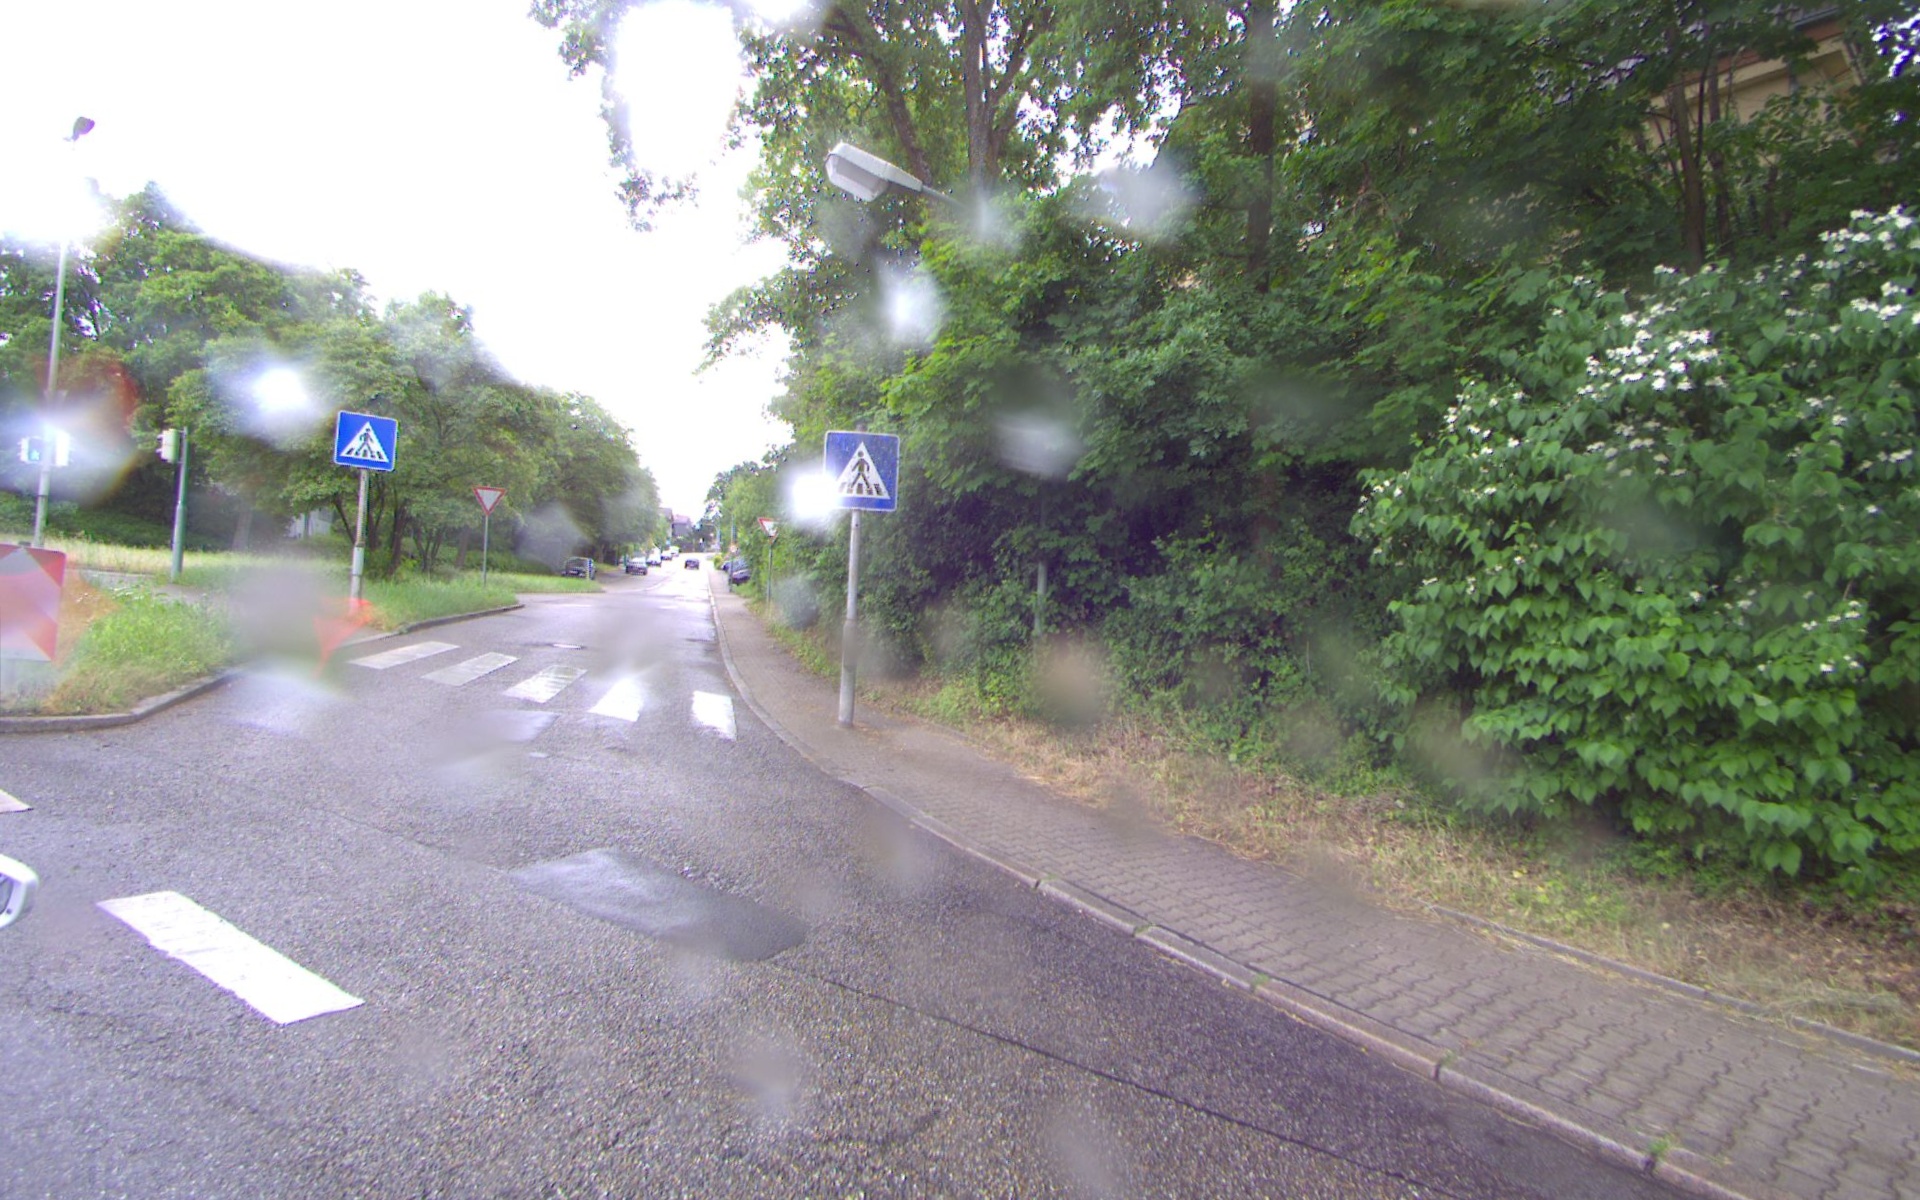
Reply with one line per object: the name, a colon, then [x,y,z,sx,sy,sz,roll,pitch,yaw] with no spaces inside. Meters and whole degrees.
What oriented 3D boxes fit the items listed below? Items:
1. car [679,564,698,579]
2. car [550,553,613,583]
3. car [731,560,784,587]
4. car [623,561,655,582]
car: [-33.955,-3.511,125.886,1.918,1.474,4.200,8,-2,-19]
car: [-25.280,-2.107,67.305,1.793,1.590,4.001,7,0,15]
car: [-16.046,-2.090,79.623,3.937,1.668,1.951,7,0,-15]
car: [-29.868,-2.634,93.660,1.672,1.462,4.002,7,-2,-2]
